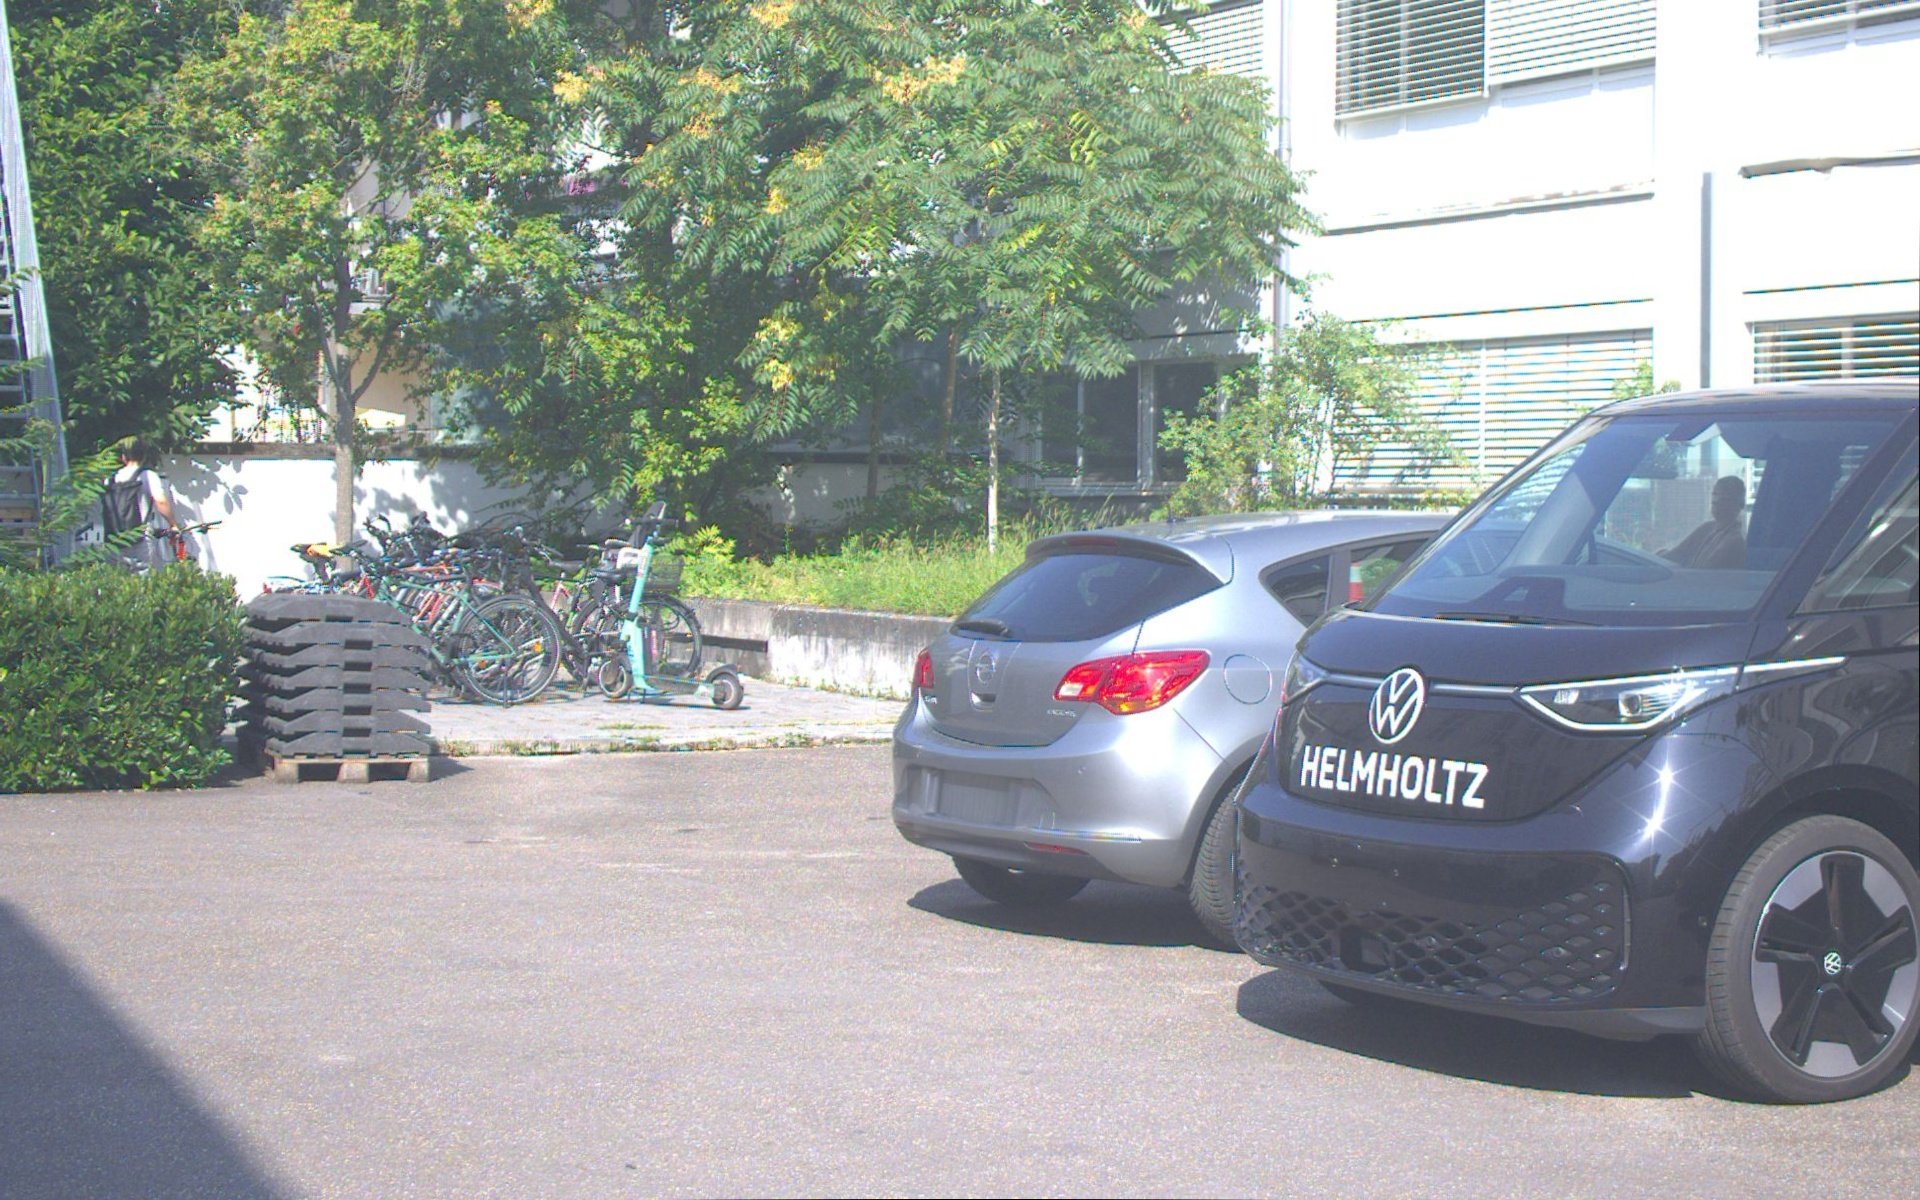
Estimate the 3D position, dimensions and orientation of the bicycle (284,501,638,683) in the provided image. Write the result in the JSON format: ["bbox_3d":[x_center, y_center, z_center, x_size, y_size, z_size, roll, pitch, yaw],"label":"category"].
[{"bbox_3d":[-3.545,-0.051,24.483,2.410,1.242,0.526,1,2,-21],"label":"bicycle"}]

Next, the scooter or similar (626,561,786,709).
[{"bbox_3d":[-1.659,0.220,22.395,0.998,0.921,0.360,2,2,31],"label":"scooter or similar"}]

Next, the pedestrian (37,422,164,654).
[{"bbox_3d":[-6.702,-0.485,26.840,0.858,1.765,0.611,1,1,-6],"label":"pedestrian"}]

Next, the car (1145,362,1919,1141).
[{"bbox_3d":[2.887,0.296,10.085,4.335,1.852,1.915,-1,3,-31],"label":"car"}]

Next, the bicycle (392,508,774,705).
[{"bbox_3d":[-2.463,0.049,22.556,2.410,1.242,0.526,1,2,-21],"label":"bicycle"}]

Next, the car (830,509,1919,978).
[{"bbox_3d":[1.616,0.411,12.694,3.897,1.461,1.663,-1,3,-34],"label":"car"}]

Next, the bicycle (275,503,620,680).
[{"bbox_3d":[-3.731,-0.060,25.079,2.410,1.242,0.526,1,2,-21],"label":"bicycle"}]

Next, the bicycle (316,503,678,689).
[{"bbox_3d":[-3.211,-0.021,23.896,2.410,1.242,0.526,1,2,-21],"label":"bicycle"}]

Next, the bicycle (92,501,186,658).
[{"bbox_3d":[-6.385,-0.181,26.798,0.488,1.139,1.994,0,3,-7],"label":"bicycle"}]

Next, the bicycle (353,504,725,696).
[{"bbox_3d":[-2.825,0.006,23.147,2.410,1.242,0.526,1,2,-21],"label":"bicycle"}]
